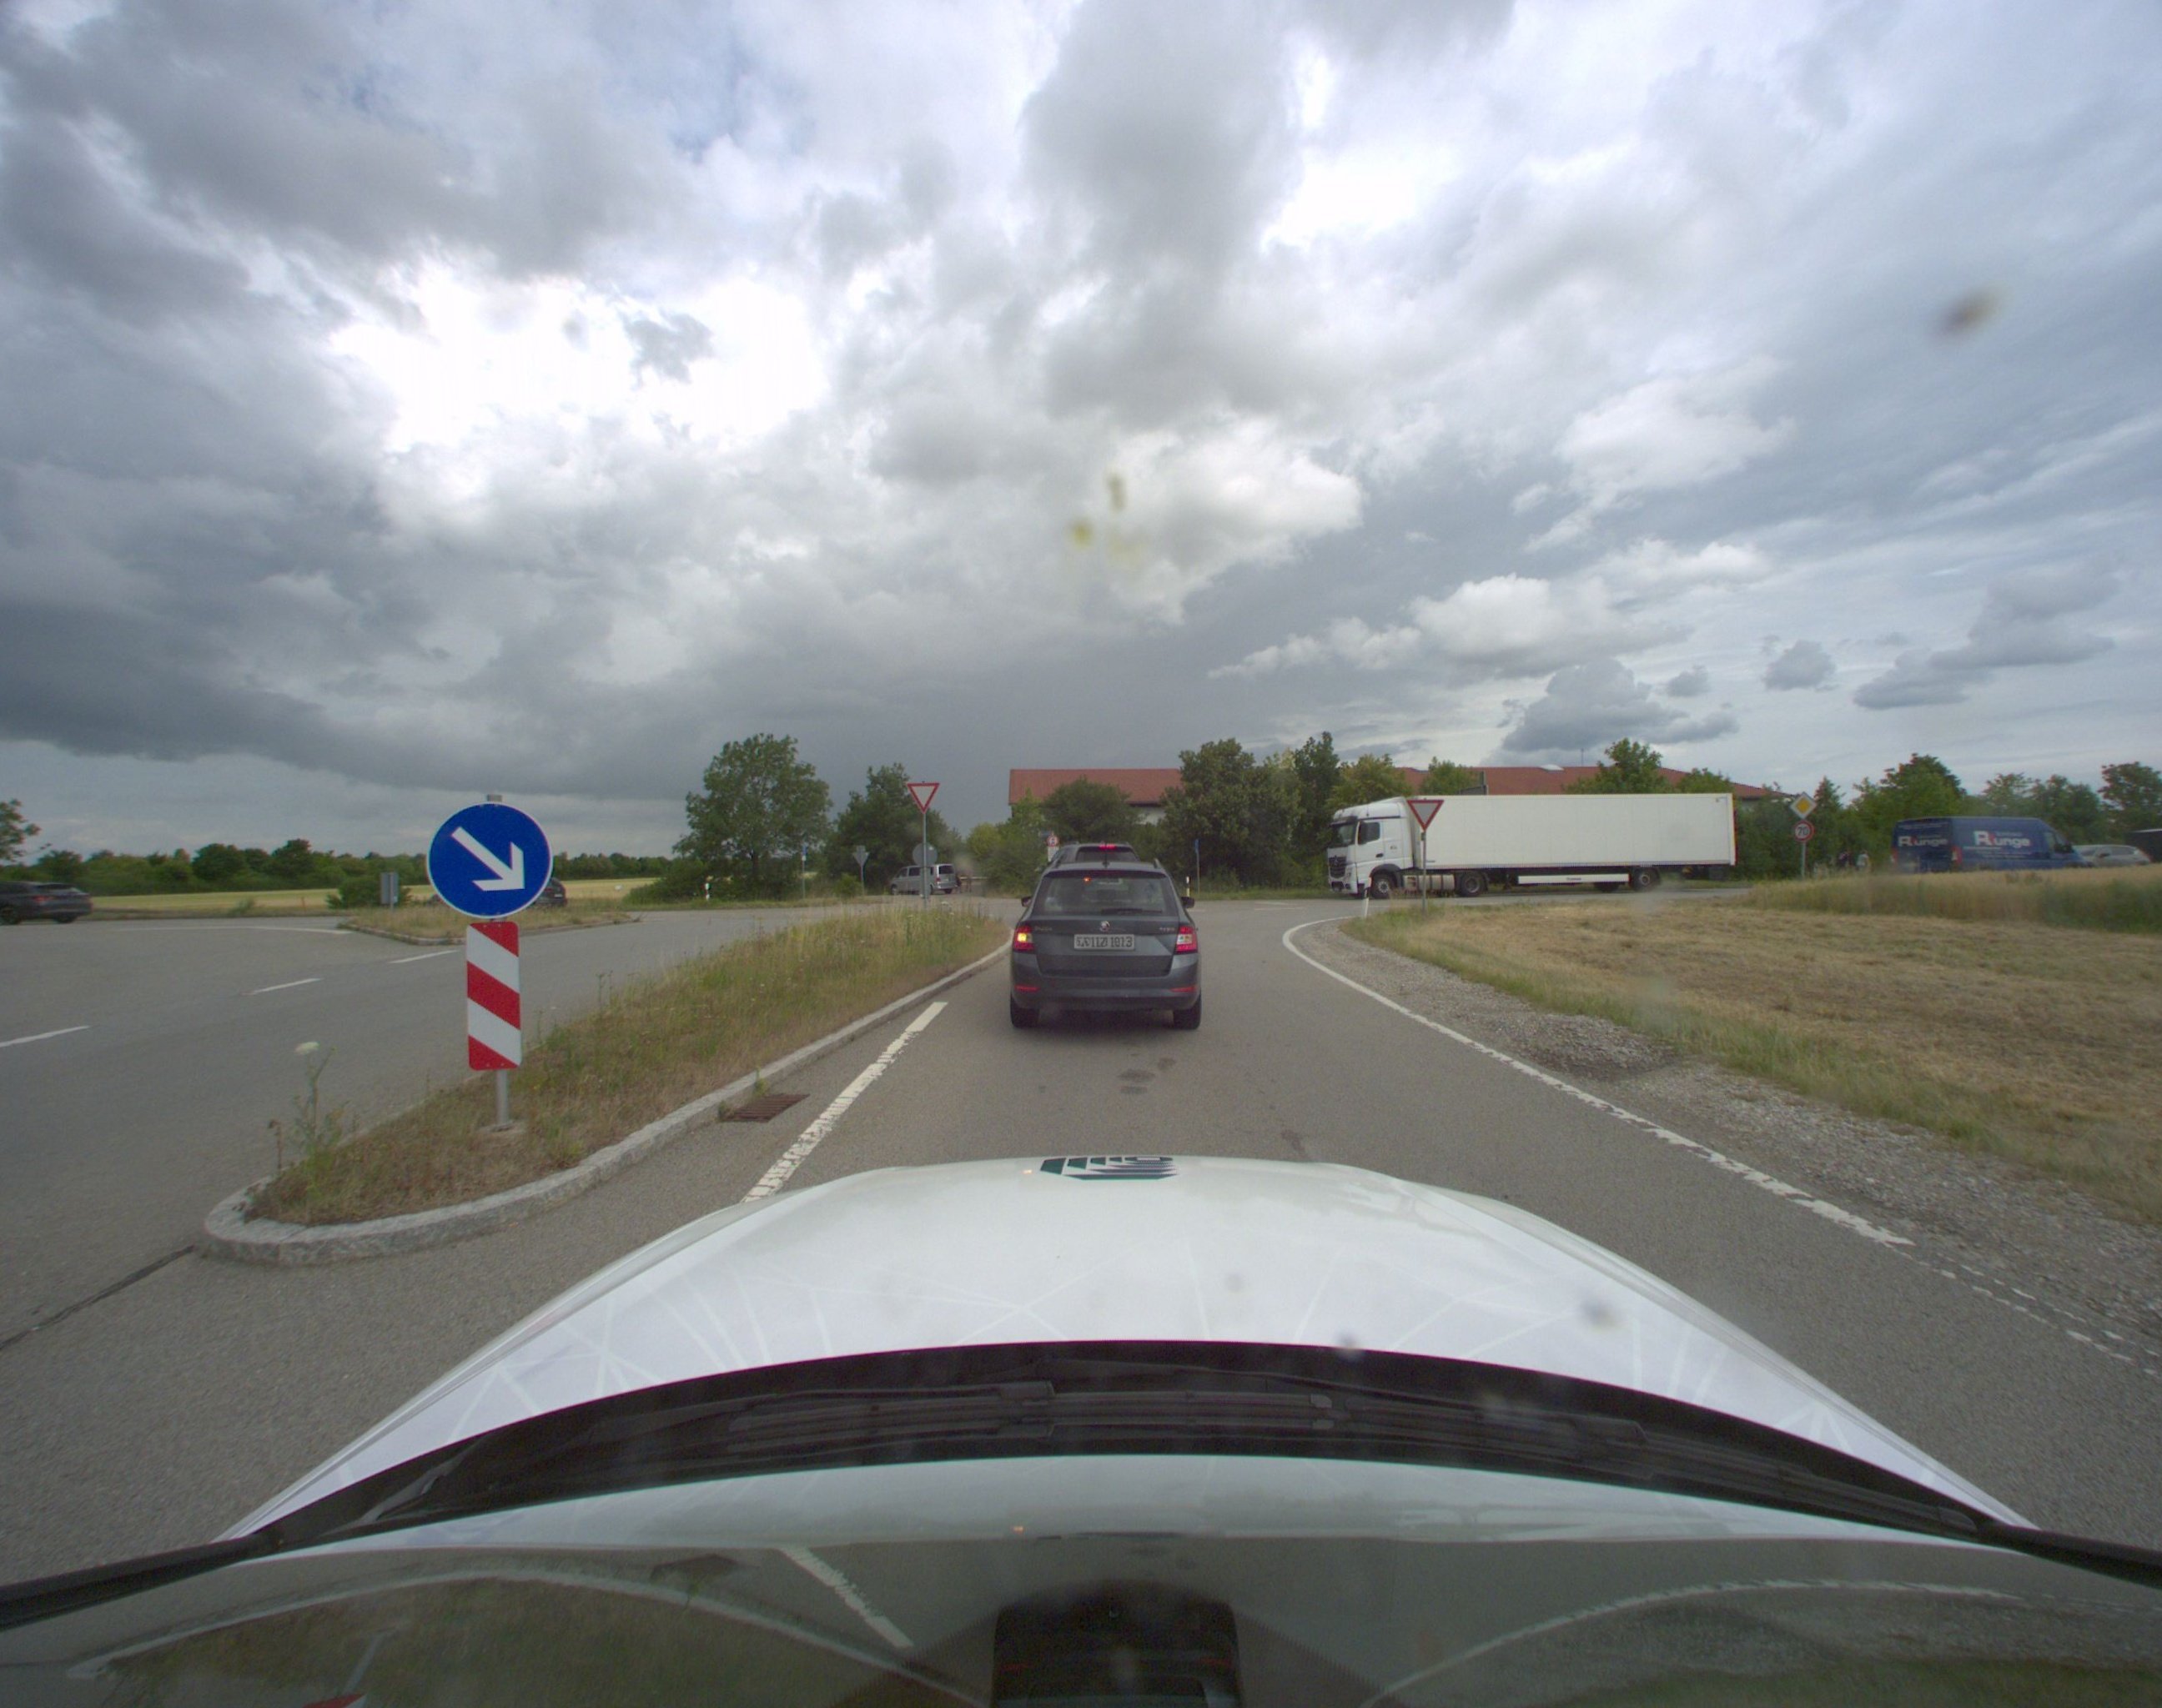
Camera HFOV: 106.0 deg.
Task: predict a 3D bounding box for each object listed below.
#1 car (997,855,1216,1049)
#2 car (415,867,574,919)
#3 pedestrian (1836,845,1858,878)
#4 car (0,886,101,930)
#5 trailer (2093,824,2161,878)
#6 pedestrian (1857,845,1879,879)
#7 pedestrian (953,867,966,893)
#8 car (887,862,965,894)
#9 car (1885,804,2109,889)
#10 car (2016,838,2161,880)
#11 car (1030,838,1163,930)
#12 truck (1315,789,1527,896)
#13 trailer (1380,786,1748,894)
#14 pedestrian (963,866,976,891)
[{"bbox_3d":[0.194,0.747,8.065,1.671,1.462,3.707,0,0,0],"label":"car"},{"bbox_3d":[-21.403,1.401,29.869,4.205,1.601,1.996,-2,0,-6],"label":"car"},{"bbox_3d":[40.032,0.401,42.550,0.626,1.682,0.528,-2,0,-9],"label":"pedestrian"},{"bbox_3d":[-35.961,1.828,27.088,4.335,1.345,1.678,-2,0,-6],"label":"car"},{"bbox_3d":[48.190,-0.165,35.950,4.377,2.293,2.411,-1,-2,-7],"label":"trailer"},{"bbox_3d":[40.173,0.405,41.583,0.626,1.682,0.528,-2,0,-9],"label":"pedestrian"},{"bbox_3d":[-8.075,1.720,54.269,0.523,1.725,0.646,-2,0,34],"label":"pedestrian"},{"bbox_3d":[-10.441,1.595,54.729,4.851,2.013,2.357,-2,0,35],"label":"car"},{"bbox_3d":[31.390,-0.254,28.010,5.541,2.639,2.147,-2,0,-4],"label":"car"},{"bbox_3d":[43.812,0.243,35.382,4.460,1.682,1.995,-1,-2,-8],"label":"car"},{"bbox_3d":[0.183,0.633,18.400,1.995,1.774,4.624,-1,-1,-12],"label":"car"},{"bbox_3d":[13.646,-0.421,33.107,7.272,4.015,3.123,-1,-2,-5],"label":"truck"},{"bbox_3d":[19.735,-0.542,33.663,13.819,4.015,3.123,-1,-2,-5],"label":"trailer"},{"bbox_3d":[-7.657,1.694,55.962,0.588,1.682,0.559,-2,0,-39],"label":"pedestrian"}]
